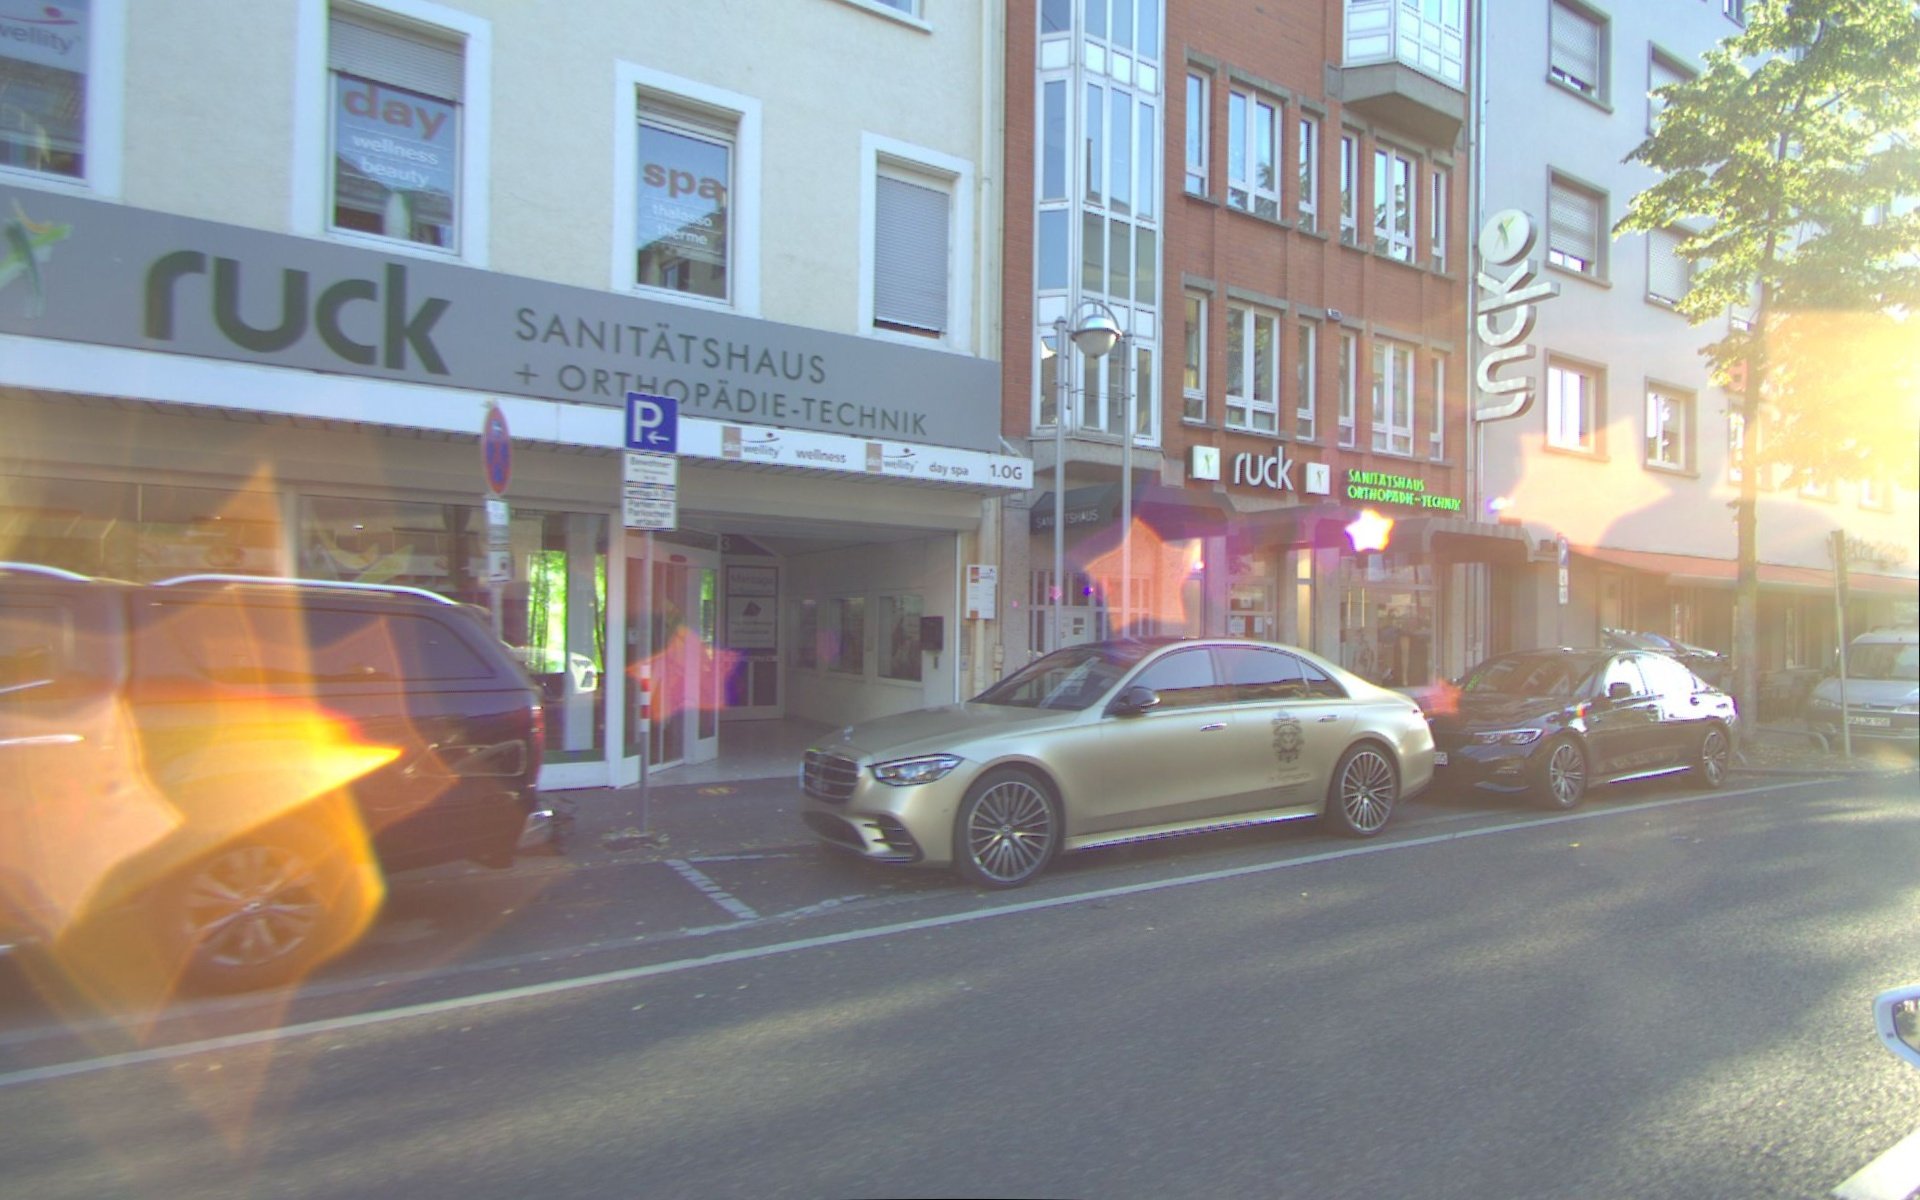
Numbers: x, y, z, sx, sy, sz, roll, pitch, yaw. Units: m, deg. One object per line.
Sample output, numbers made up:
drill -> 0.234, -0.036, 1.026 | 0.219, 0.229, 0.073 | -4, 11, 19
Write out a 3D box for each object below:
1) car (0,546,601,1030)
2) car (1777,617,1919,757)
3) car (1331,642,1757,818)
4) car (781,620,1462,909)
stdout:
car -> -4.498, 0.734, 4.352 | 5.290, 1.834, 1.817 | 1, -3, -33
car -> 14.319, 1.241, 15.284 | 4.081, 1.879, 1.822 | 2, -1, -34
car -> 6.070, 1.191, 10.325 | 4.500, 1.458, 1.819 | 2, -4, -31
car -> 1.374, 0.992, 7.585 | 5.074, 1.576, 1.819 | 1, -3, -30
